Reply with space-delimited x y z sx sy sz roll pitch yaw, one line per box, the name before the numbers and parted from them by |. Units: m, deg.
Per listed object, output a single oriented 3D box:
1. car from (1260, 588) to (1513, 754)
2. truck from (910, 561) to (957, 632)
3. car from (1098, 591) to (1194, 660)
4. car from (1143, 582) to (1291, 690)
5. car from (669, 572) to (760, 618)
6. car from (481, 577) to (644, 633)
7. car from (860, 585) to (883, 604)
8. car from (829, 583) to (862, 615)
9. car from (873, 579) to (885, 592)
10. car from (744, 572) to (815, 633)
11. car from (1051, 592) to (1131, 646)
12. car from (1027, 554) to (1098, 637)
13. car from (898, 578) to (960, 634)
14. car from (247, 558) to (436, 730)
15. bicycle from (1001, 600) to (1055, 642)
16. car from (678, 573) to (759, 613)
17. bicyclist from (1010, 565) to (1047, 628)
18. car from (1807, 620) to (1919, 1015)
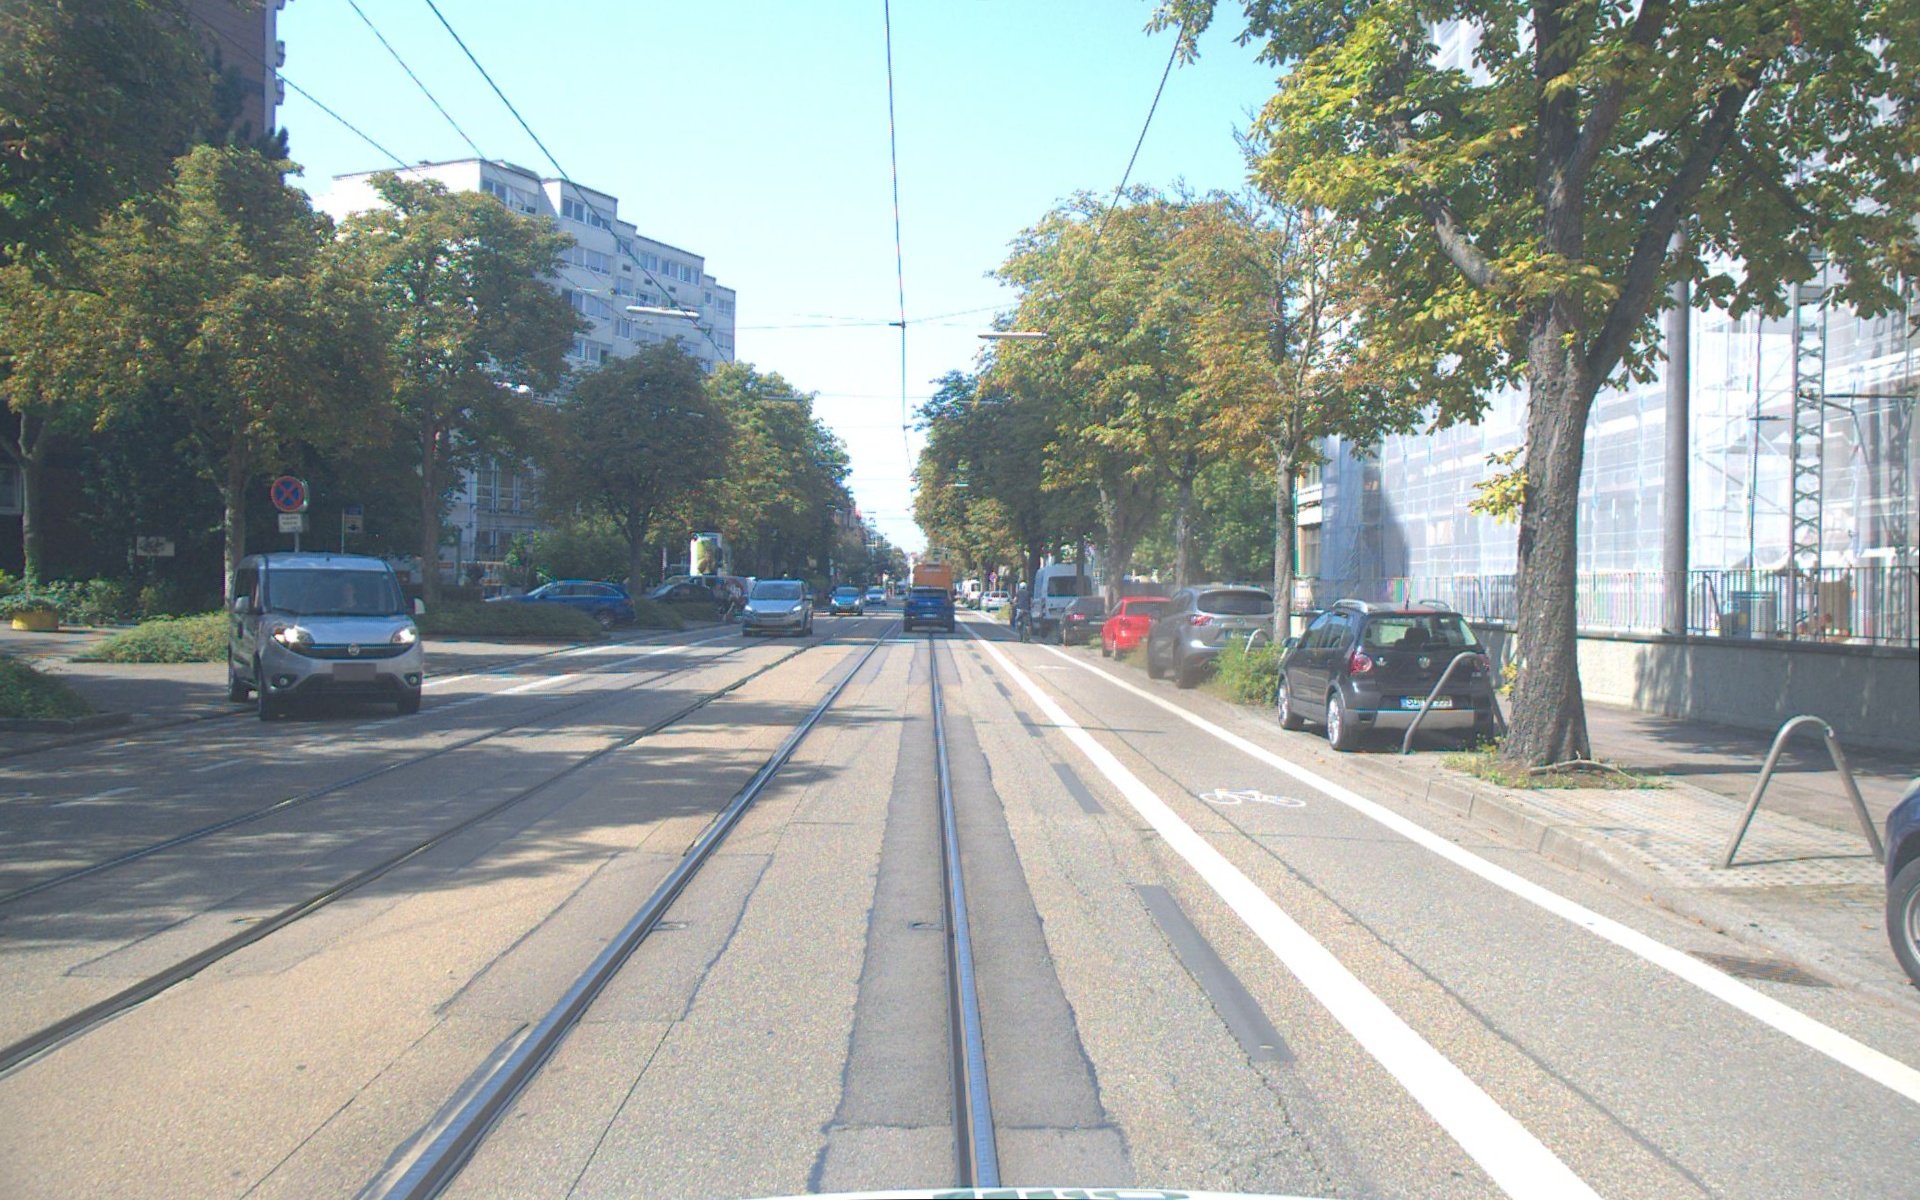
car | 4.630 0.695 18.574 1.601 1.612 4.187 1 0 -2
truck | -1.240 -0.193 77.095 2.092 3.179 6.084 0 0 -1
car | 4.342 0.561 39.044 1.705 1.488 3.682 1 0 -2
car | 4.357 0.553 28.662 1.705 1.697 4.360 1 0 -2
car | -11.560 -0.219 78.023 3.970 2.049 1.827 1 0 -45
car | -12.061 0.165 50.198 4.511 1.579 1.984 1 0 -25
car | -7.603 -0.518 142.398 1.860 1.589 4.121 1 0 -3
car | -6.122 -0.069 88.712 1.601 1.612 4.187 1 0 -2
car | -11.817 -2.173 242.116 1.712 1.828 3.998 1 0 -2
car | -5.326 0.050 49.289 1.744 1.713 4.345 1 0 -2
car | 3.835 0.535 49.172 1.869 1.456 4.290 1 0 -2
car | 3.637 -0.174 59.759 1.953 2.804 5.759 1 0 -2
car | -1.087 0.188 58.531 2.092 1.891 5.567 0 0 -1
car | -7.465 0.446 19.746 1.726 1.828 3.967 1 0 -26
bicycle | 1.995 0.593 49.309 1.373 1.154 3.999 1 0 -1
car | -12.931 -0.347 88.663 3.970 2.049 1.827 1 0 -45
bicyclist | 2.042 -0.108 49.276 1.011 1.843 1.016 1 0 -1
car | 4.755 0.896 5.478 1.707 1.583 4.216 0 0 -1
